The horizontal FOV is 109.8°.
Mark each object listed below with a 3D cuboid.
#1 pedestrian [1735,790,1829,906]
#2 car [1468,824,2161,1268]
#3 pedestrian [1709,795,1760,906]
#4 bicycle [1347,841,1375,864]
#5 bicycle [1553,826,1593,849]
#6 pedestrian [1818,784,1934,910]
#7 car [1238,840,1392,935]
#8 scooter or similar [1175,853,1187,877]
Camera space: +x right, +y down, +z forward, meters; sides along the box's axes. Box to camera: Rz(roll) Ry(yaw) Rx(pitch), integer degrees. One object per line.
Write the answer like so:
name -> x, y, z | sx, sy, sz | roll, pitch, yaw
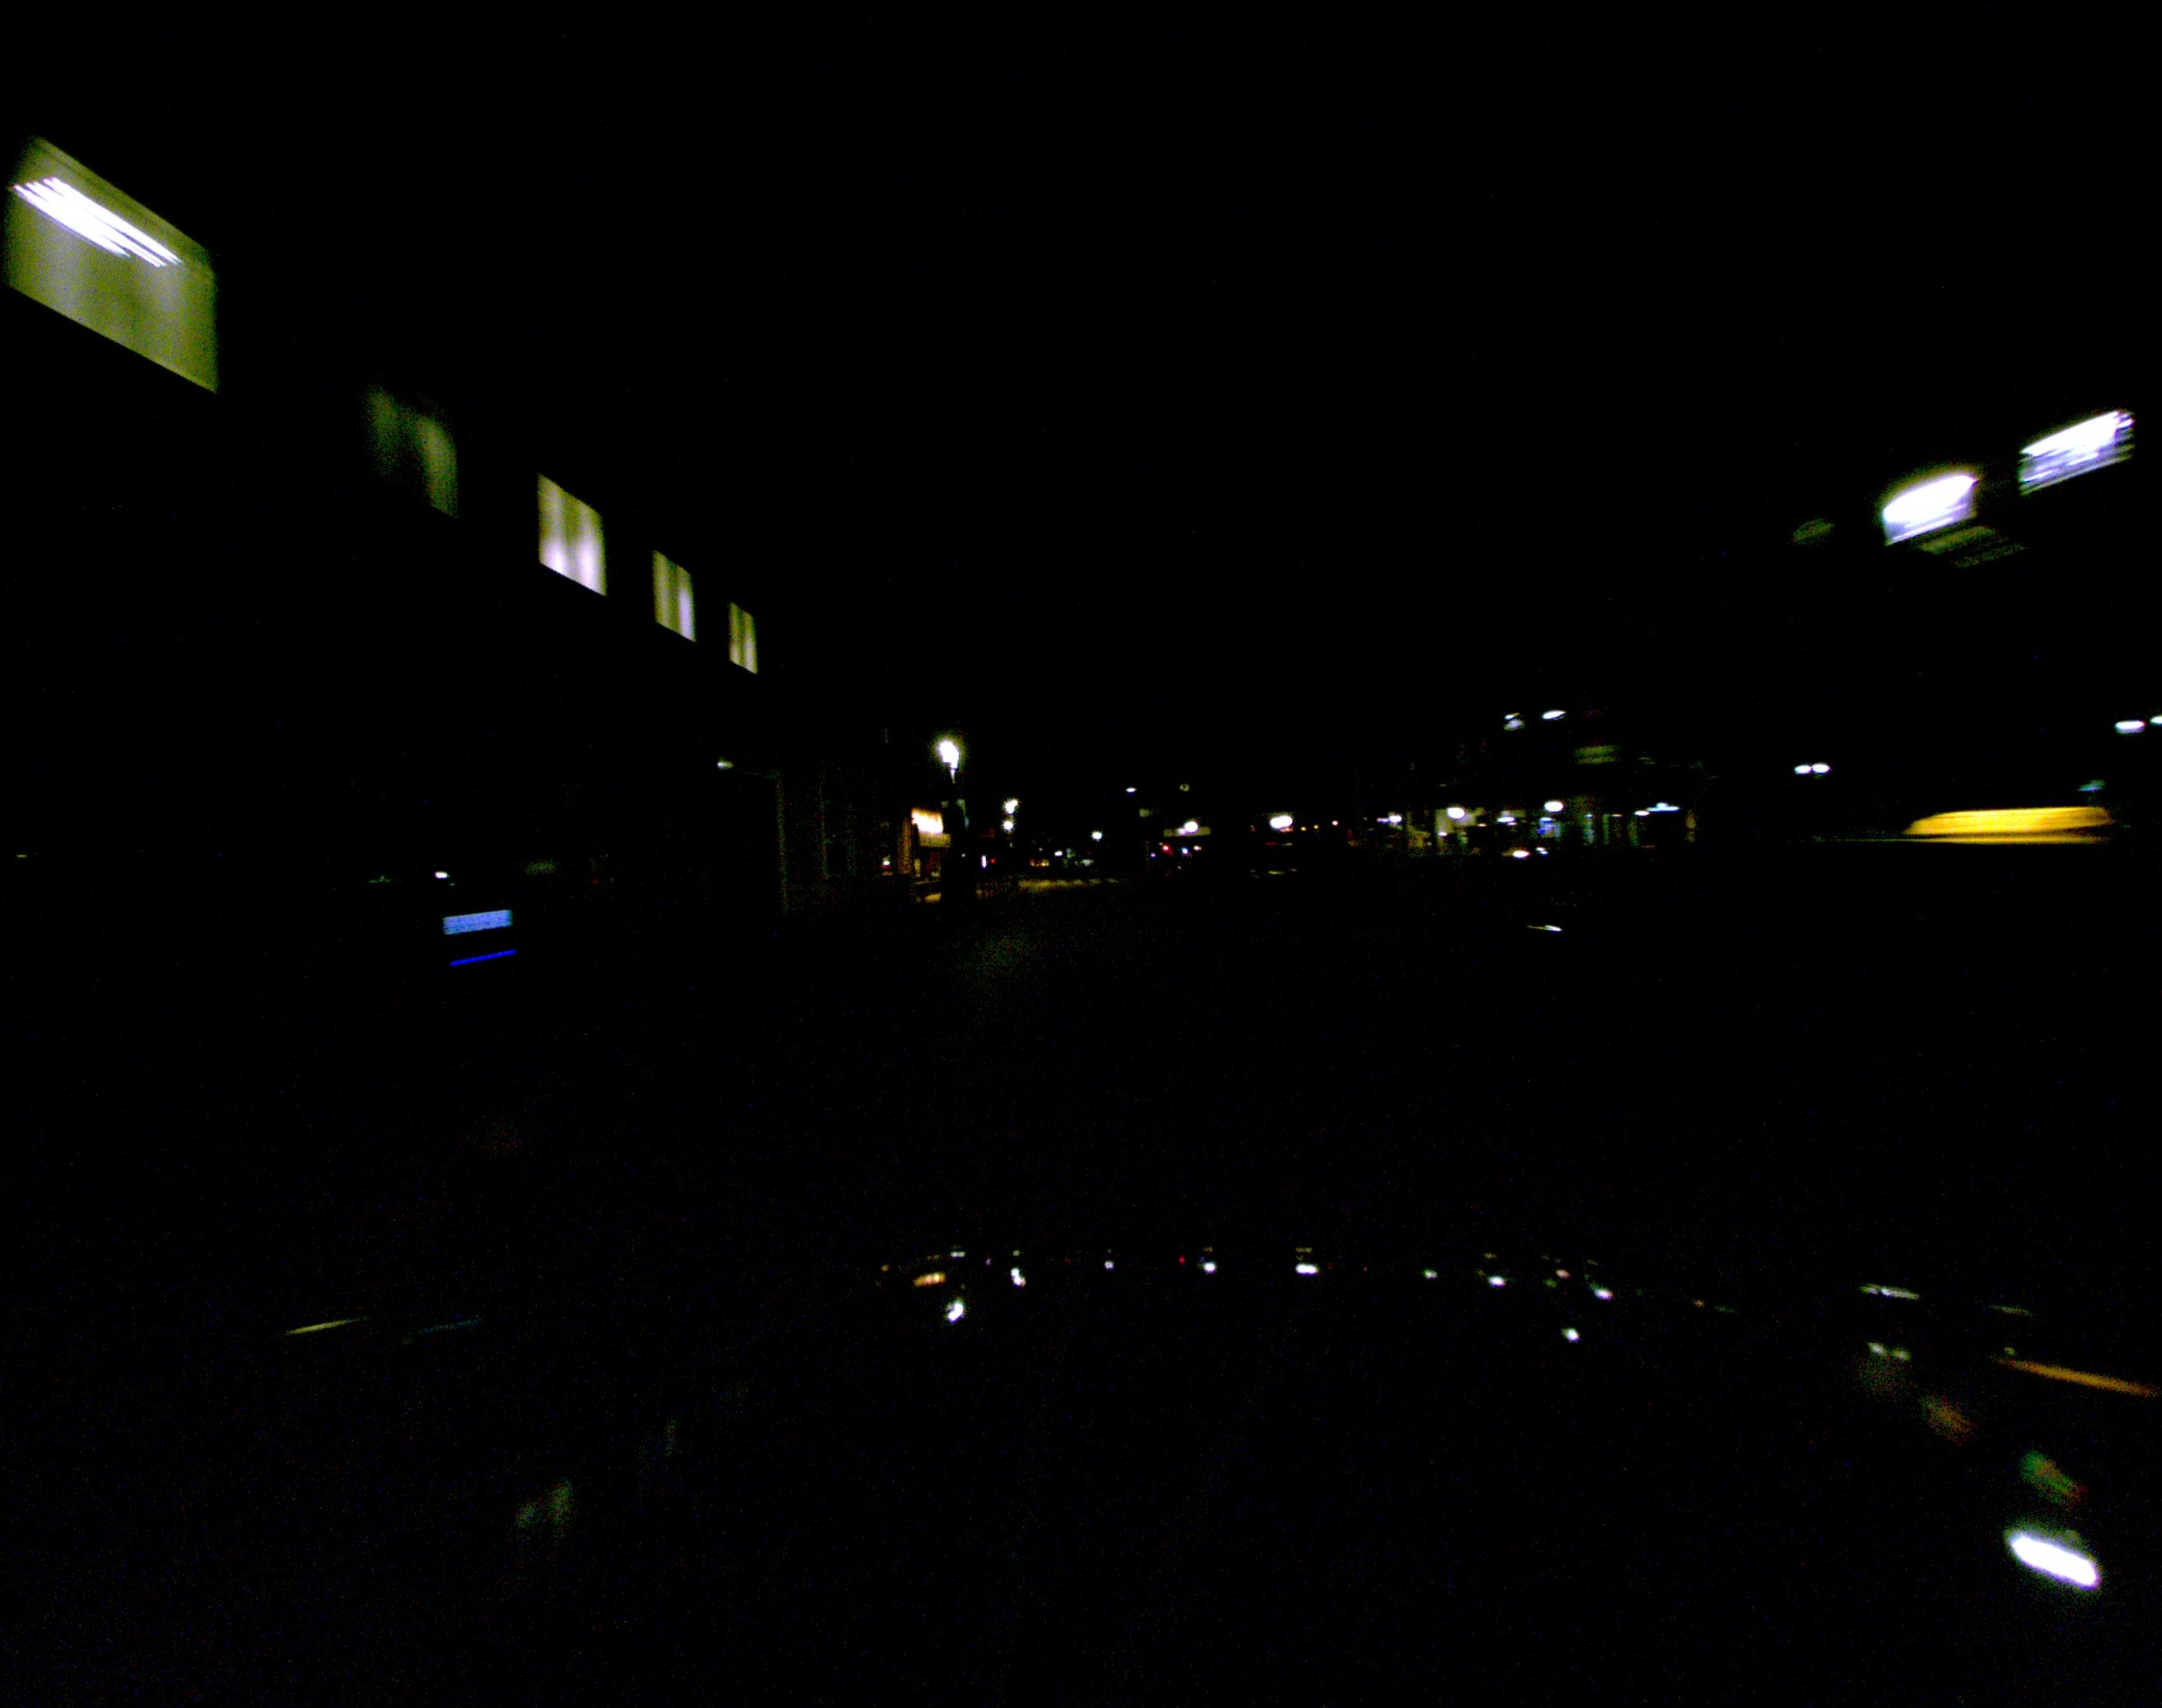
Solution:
pedestrian -> 11.635, -0.095, 12.653 | 0.879, 1.821, 0.792 | -4, 1, 25
car -> 4.698, 0.667, 4.701 | 1.910, 1.533, 4.780 | -3, 0, -3
pedestrian -> 10.895, -0.055, 12.679 | 0.501, 1.811, 0.504 | -2, 2, 24
bicycle -> 17.304, -0.125, 47.040 | 0.765, 1.356, 2.412 | -2, 1, -2
bicycle -> 30.402, -1.016, 47.014 | 0.775, 1.356, 2.510 | -2, 1, -2
pedestrian -> 12.218, -0.109, 11.717 | 0.793, 1.807, 1.025 | -4, 1, 20
car -> 4.611, 0.569, 15.689 | 1.775, 1.565, 4.482 | -4, 1, 1
scooter or similar -> 5.336, 0.578, 40.455 | 0.370, 1.256, 1.449 | -4, 0, 0
